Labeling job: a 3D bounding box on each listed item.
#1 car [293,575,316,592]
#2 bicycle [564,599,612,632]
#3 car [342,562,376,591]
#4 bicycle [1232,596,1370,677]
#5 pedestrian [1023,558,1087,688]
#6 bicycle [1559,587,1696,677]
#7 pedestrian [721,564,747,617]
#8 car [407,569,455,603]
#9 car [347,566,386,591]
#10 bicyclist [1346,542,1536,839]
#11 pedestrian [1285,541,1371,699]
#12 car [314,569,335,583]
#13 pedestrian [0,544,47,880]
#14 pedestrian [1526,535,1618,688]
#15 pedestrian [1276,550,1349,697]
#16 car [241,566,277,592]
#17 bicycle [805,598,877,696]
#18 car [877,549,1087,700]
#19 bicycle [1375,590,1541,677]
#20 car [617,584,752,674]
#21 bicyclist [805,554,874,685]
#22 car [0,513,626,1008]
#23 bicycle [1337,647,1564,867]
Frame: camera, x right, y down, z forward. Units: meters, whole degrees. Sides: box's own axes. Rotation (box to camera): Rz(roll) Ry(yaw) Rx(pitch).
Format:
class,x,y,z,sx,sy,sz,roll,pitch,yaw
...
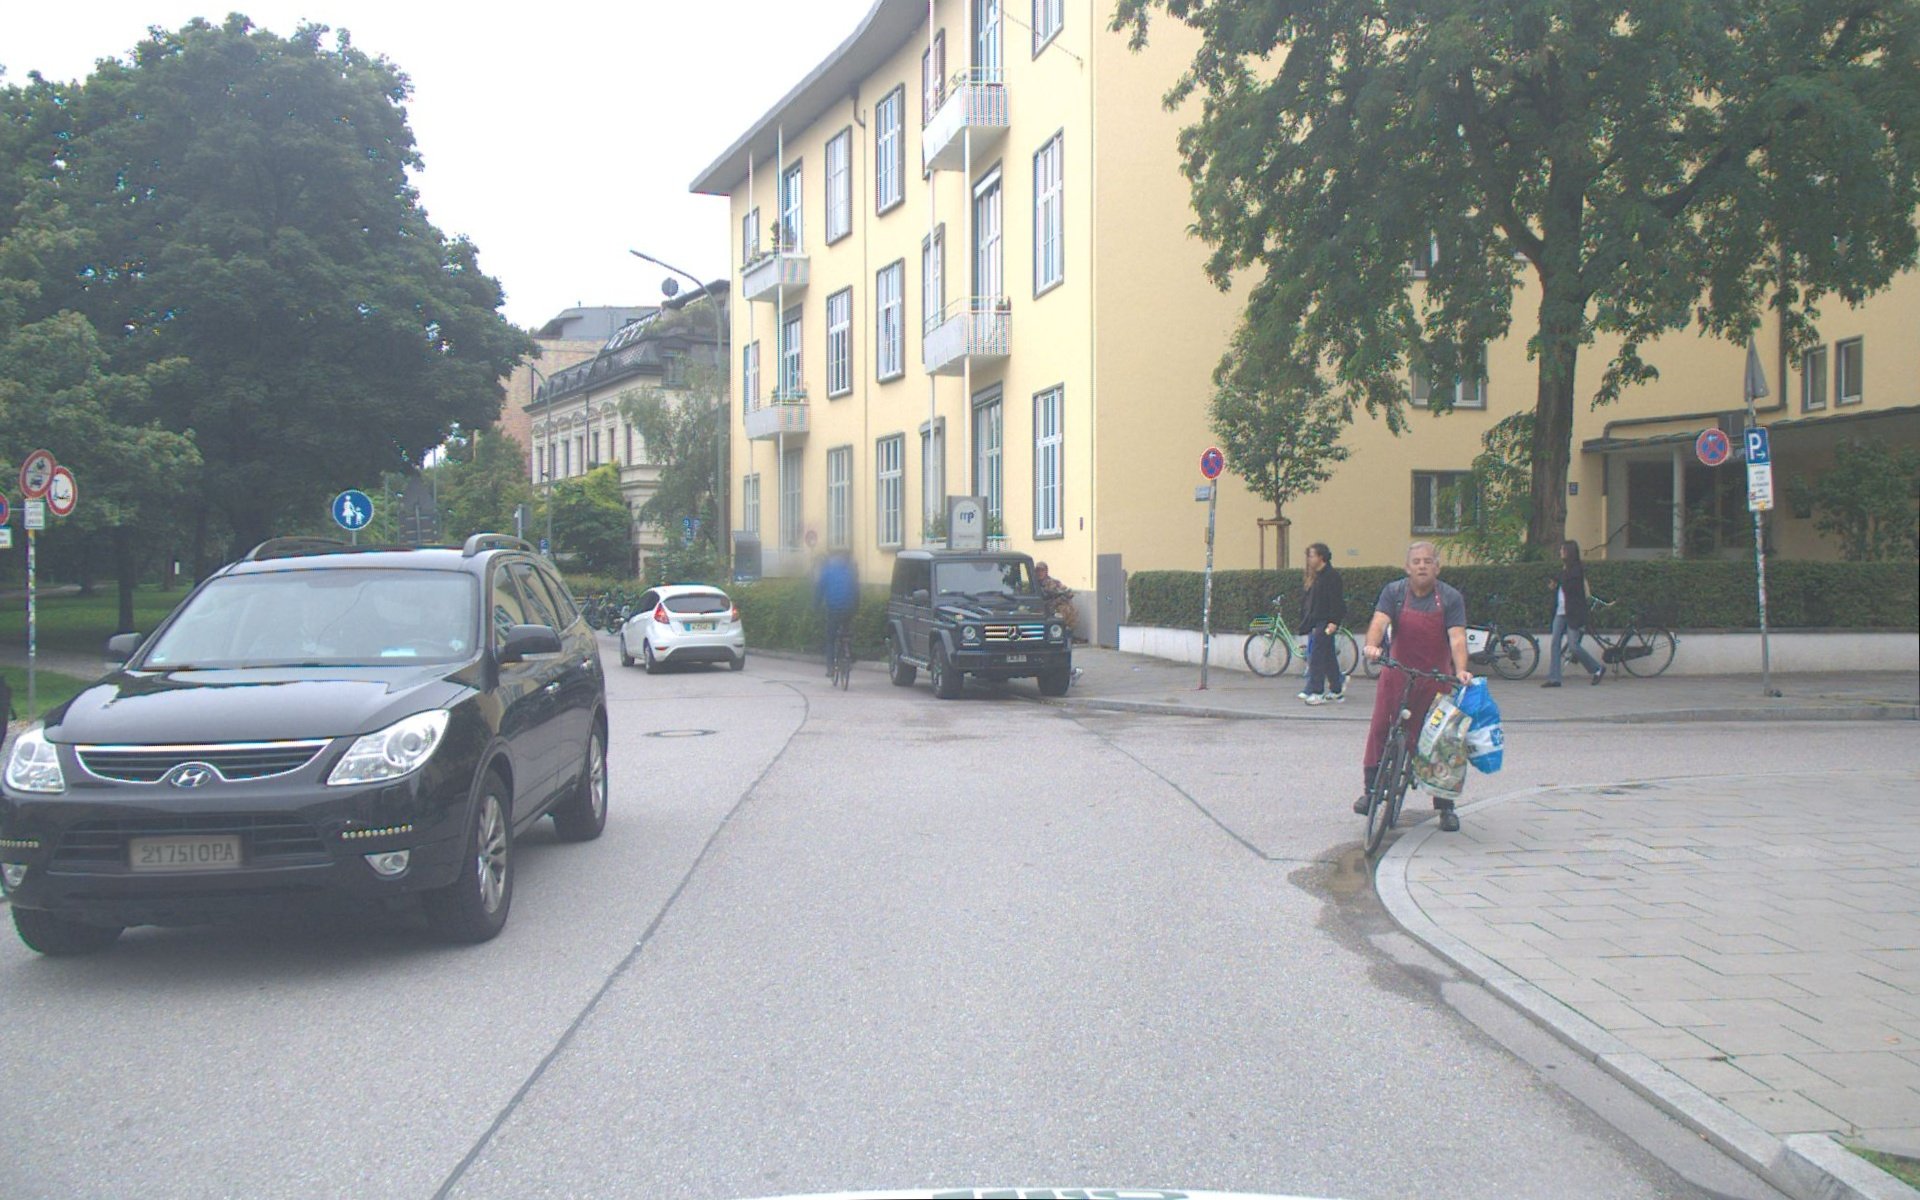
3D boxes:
class,x,y,z,sx,sy,sz,roll,pitch,yaw
car,-66.701,-1.714,168.380,1.773,1.687,4.232,-1,1,-16
bicycle,-12.111,0.496,53.886,1.525,1.032,0.403,-3,2,-42
car,-42.668,-1.653,117.343,2.038,2.000,4.943,-1,1,-22
bicycle,4.843,0.525,23.578,1.915,1.103,0.526,-2,-1,42
pedestrian,1.330,0.304,23.337,0.831,1.788,0.954,-1,1,0
bicycle,8.852,0.417,21.943,1.648,1.150,0.460,0,1,-3
pedestrian,-7.405,-0.310,54.151,0.623,1.713,0.693,-2,1,-24
car,-27.119,-0.749,84.782,1.771,1.709,3.966,-1,1,-26
car,-39.017,-1.416,108.610,1.969,1.628,4.218,-1,1,-26
bicyclist,2.772,0.490,9.639,0.857,1.637,1.050,0,1,4
pedestrian,4.358,0.234,19.627,0.968,1.840,0.660,0,1,11
car,-73.436,-2.793,191.236,1.962,1.628,4.447,-1,1,-17
pedestrian,-5.261,0.582,8.746,0.533,1.726,0.664,-2,1,-13
pedestrian,7.763,0.140,21.012,0.833,1.890,0.766,-1,0,-2
pedestrian,4.342,0.278,20.412,0.809,1.776,0.741,0,1,6
car,-45.030,-1.343,106.147,1.969,1.628,4.432,-1,1,-25
bicycle,-1.709,0.633,23.463,0.903,1.274,2.318,-1,1,-7
car,0.185,0.262,23.496,1.842,1.920,4.601,-1,1,-15
bicycle,6.712,0.448,22.374,2.122,1.135,0.641,0,1,15
car,-4.910,0.453,29.113,1.722,1.431,3.706,-1,1,-20
bicyclist,-1.713,0.251,23.392,0.897,1.795,1.213,-1,1,-8
car,-2.971,0.522,8.213,1.954,1.749,4.612,0,1,-4
bicycle,2.809,0.853,9.734,0.858,1.037,2.192,0,1,5
